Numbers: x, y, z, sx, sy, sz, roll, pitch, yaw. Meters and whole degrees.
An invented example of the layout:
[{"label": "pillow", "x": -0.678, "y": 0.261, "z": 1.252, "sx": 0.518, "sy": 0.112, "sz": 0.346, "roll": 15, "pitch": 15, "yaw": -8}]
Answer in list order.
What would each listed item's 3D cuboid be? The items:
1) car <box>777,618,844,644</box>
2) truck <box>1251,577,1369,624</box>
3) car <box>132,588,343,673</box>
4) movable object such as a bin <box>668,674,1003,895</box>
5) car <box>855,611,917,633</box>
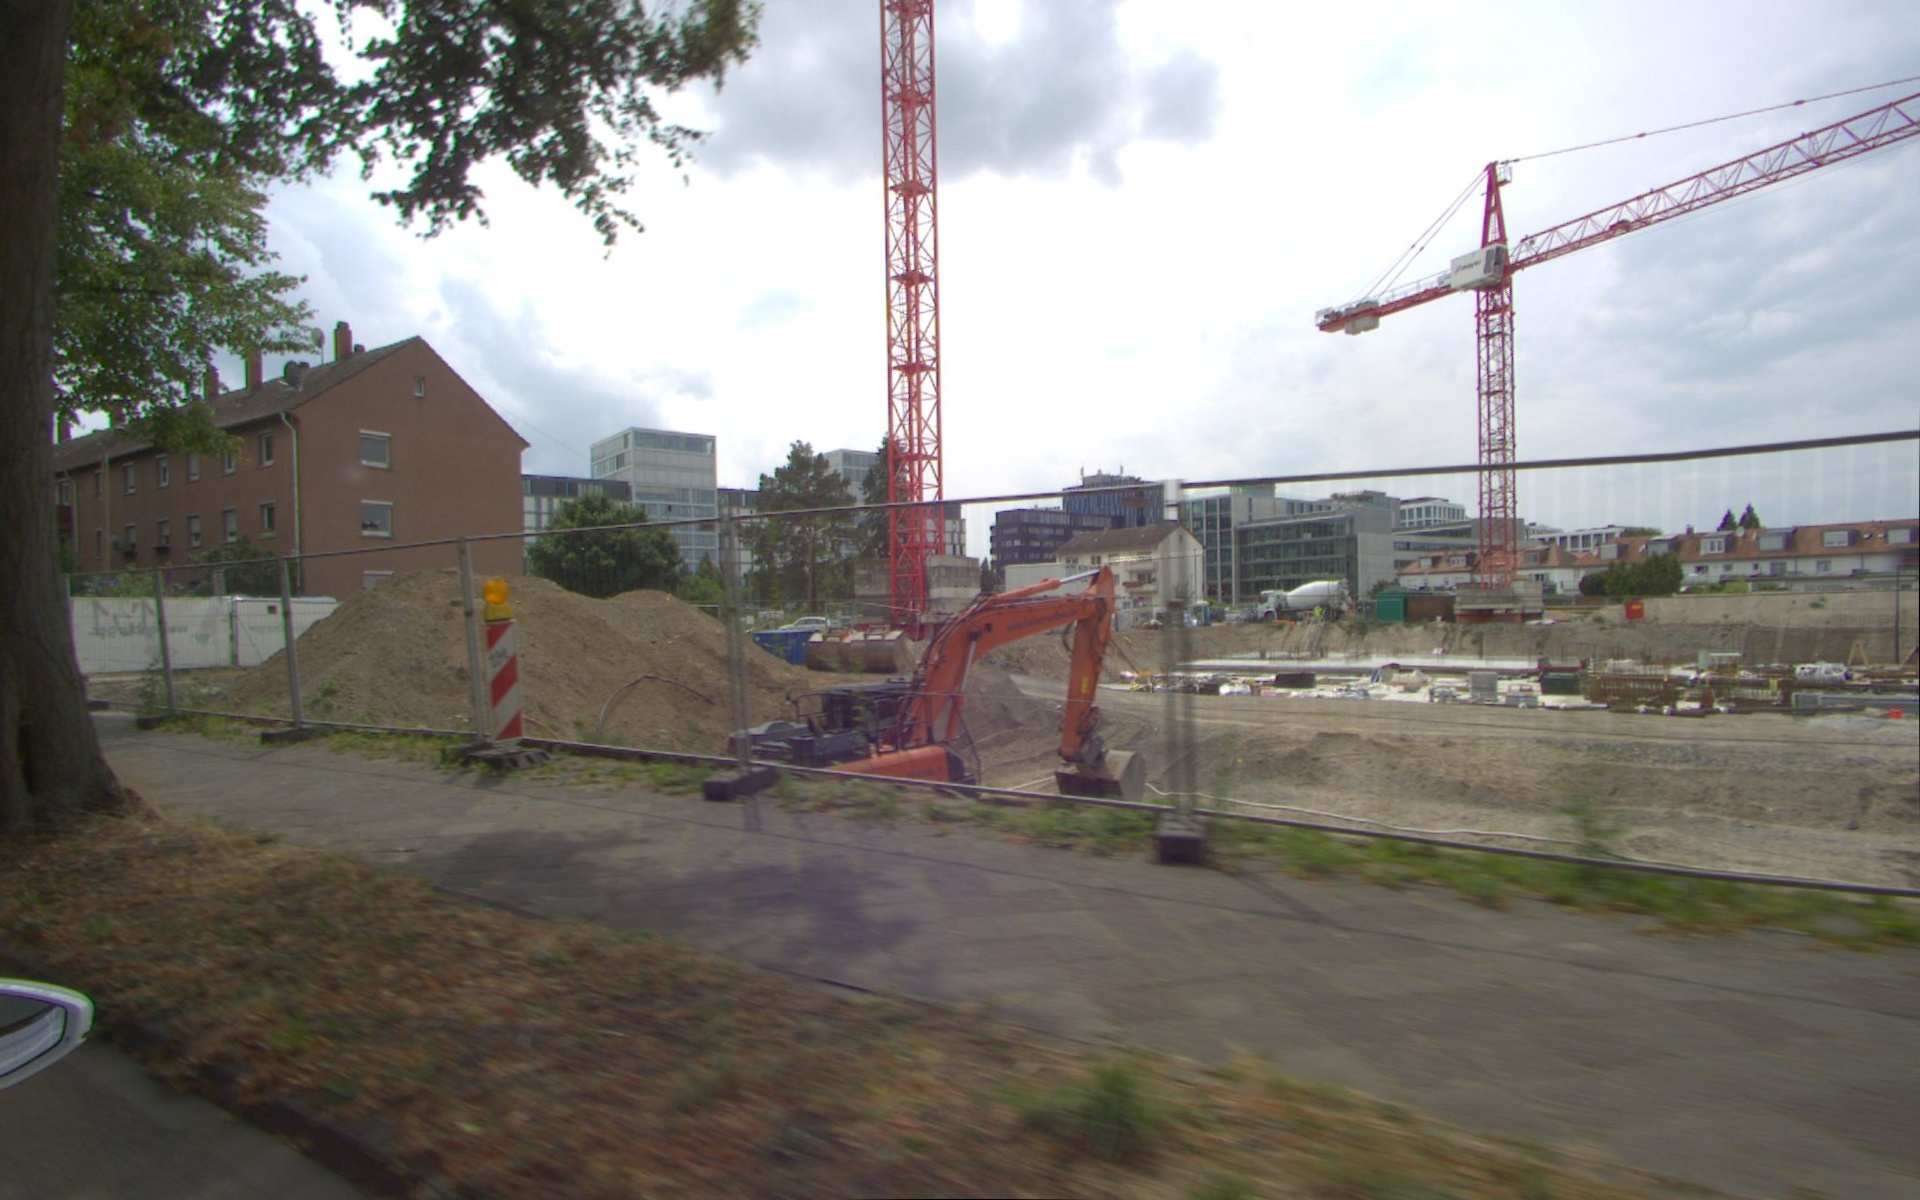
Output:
[{"label": "car", "x": -9.631, "y": 1.979, "z": 64.448, "sx": 4.143, "sy": 1.435, "sz": 1.715, "roll": 1, "pitch": 1, "yaw": 29}, {"label": "truck", "x": 33.024, "y": 0.081, "z": 94.866, "sx": 10.160, "sy": 4.188, "sz": 3.320, "roll": -1, "pitch": 1, "yaw": 44}, {"label": "car", "x": -24.748, "y": 0.953, "z": 34.534, "sx": 2.303, "sy": 2.668, "sz": 5.458, "roll": 2, "pitch": 1, "yaw": 34}, {"label": "movable object such as a bin", "x": -2.013, "y": 2.816, "z": 16.913, "sx": 4.649, "sy": 2.624, "sz": 3.103, "roll": -3, "pitch": 1, "yaw": -44}, {"label": "car", "x": -5.226, "y": 1.530, "z": 70.929, "sx": 4.143, "sy": 1.435, "sz": 1.715, "roll": 1, "pitch": 1, "yaw": 29}]
